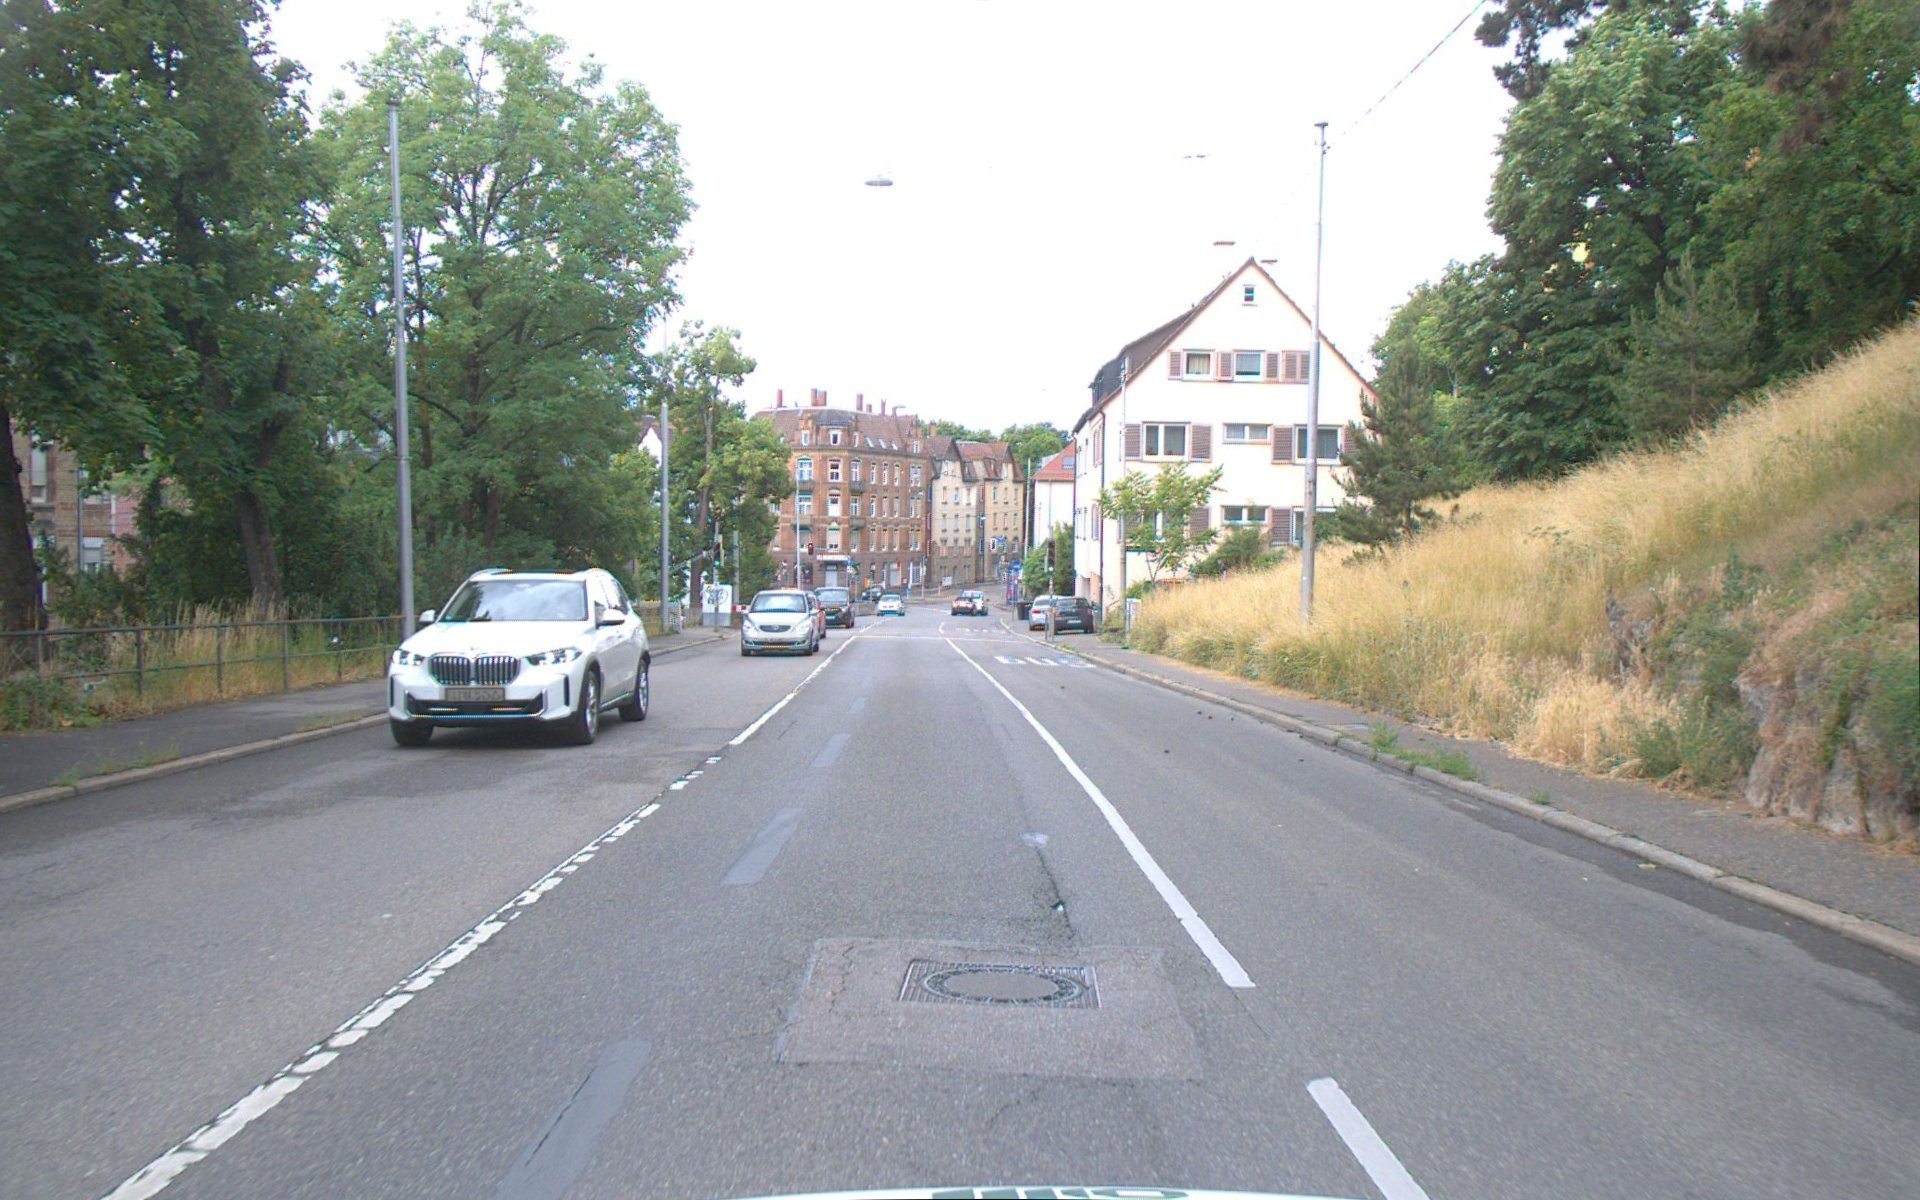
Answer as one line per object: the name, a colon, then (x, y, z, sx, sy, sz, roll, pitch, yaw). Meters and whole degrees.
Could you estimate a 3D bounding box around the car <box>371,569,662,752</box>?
car: (-4.598, 0.557, 17.917, 1.955, 1.712, 4.662, 0, 0, -1)

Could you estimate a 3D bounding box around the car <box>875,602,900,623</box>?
car: (-5.053, 0.857, 115.933, 1.685, 1.470, 4.157, -1, 0, -2)

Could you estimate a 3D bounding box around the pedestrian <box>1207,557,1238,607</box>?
pedestrian: (9.325, -0.644, 58.747, 0.869, 1.725, 0.872, 2, -1, -5)

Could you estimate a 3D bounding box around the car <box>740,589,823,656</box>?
car: (-4.469, 0.538, 42.001, 1.748, 1.602, 4.279, -1, 0, -2)

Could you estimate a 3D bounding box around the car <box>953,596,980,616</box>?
car: (0.526, 0.433, 126.016, 1.778, 1.455, 4.002, 2, 0, 3)

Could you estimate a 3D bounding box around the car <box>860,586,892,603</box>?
car: (-8.259, -0.501, 163.100, 1.939, 1.602, 4.379, -1, 0, 13)

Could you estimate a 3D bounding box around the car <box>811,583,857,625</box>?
car: (-5.510, 0.168, 72.762, 1.747, 1.776, 4.427, -1, 0, -1)

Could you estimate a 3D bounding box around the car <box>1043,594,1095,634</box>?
car: (4.297, 0.552, 65.653, 1.648, 1.476, 3.999, -3, 0, -1)

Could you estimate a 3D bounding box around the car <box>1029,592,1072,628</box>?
car: (4.044, 0.431, 74.444, 1.757, 1.476, 4.720, -3, 1, 2)

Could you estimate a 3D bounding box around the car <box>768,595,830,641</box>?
car: (-5.349, 0.576, 55.285, 1.748, 1.485, 4.427, -1, 0, -2)

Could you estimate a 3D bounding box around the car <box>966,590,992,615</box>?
car: (1.523, 0.193, 132.612, 1.869, 1.917, 4.002, 2, 0, 3)
